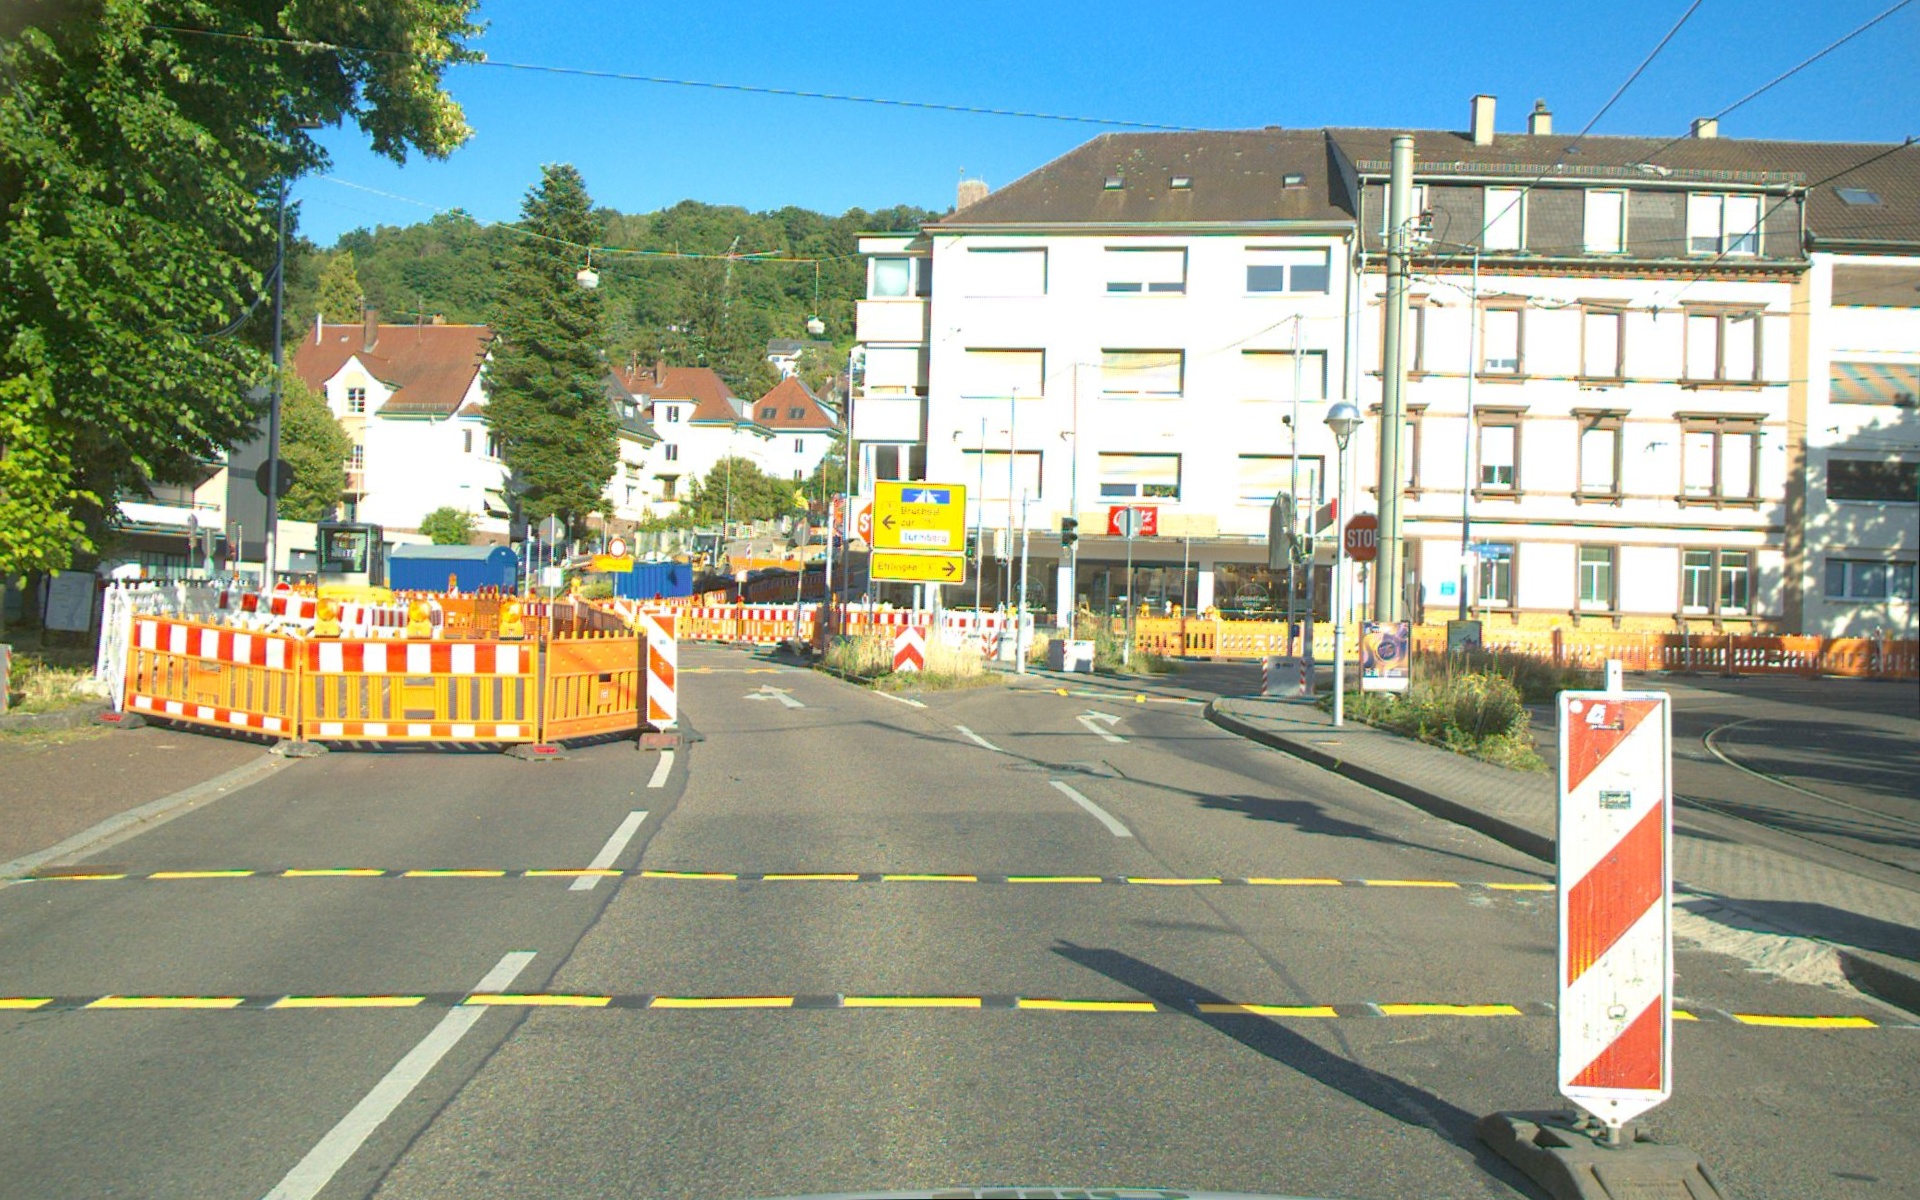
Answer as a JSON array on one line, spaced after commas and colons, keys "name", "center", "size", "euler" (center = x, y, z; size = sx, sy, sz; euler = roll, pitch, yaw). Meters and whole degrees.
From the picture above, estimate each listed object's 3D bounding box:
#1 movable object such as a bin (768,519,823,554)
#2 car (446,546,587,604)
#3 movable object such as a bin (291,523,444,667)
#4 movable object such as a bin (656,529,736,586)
[{"name": "movable object such as a bin", "center": [-11.375, -4.387, 114.738], "size": [2.510, 2.159, 5.789], "euler": [1, 0, 8]}, {"name": "car", "center": [-17.578, -0.941, 65.904], "size": [2.529, 2.158, 6.154], "euler": [1, 0, 17]}, {"name": "movable object such as a bin", "center": [-10.420, -0.093, 29.342], "size": [1.615, 2.365, 3.916], "euler": [1, 0, -6]}, {"name": "movable object such as a bin", "center": [-12.533, -2.001, 78.788], "size": [1.907, 2.538, 4.554], "euler": [1, 0, 17]}]
